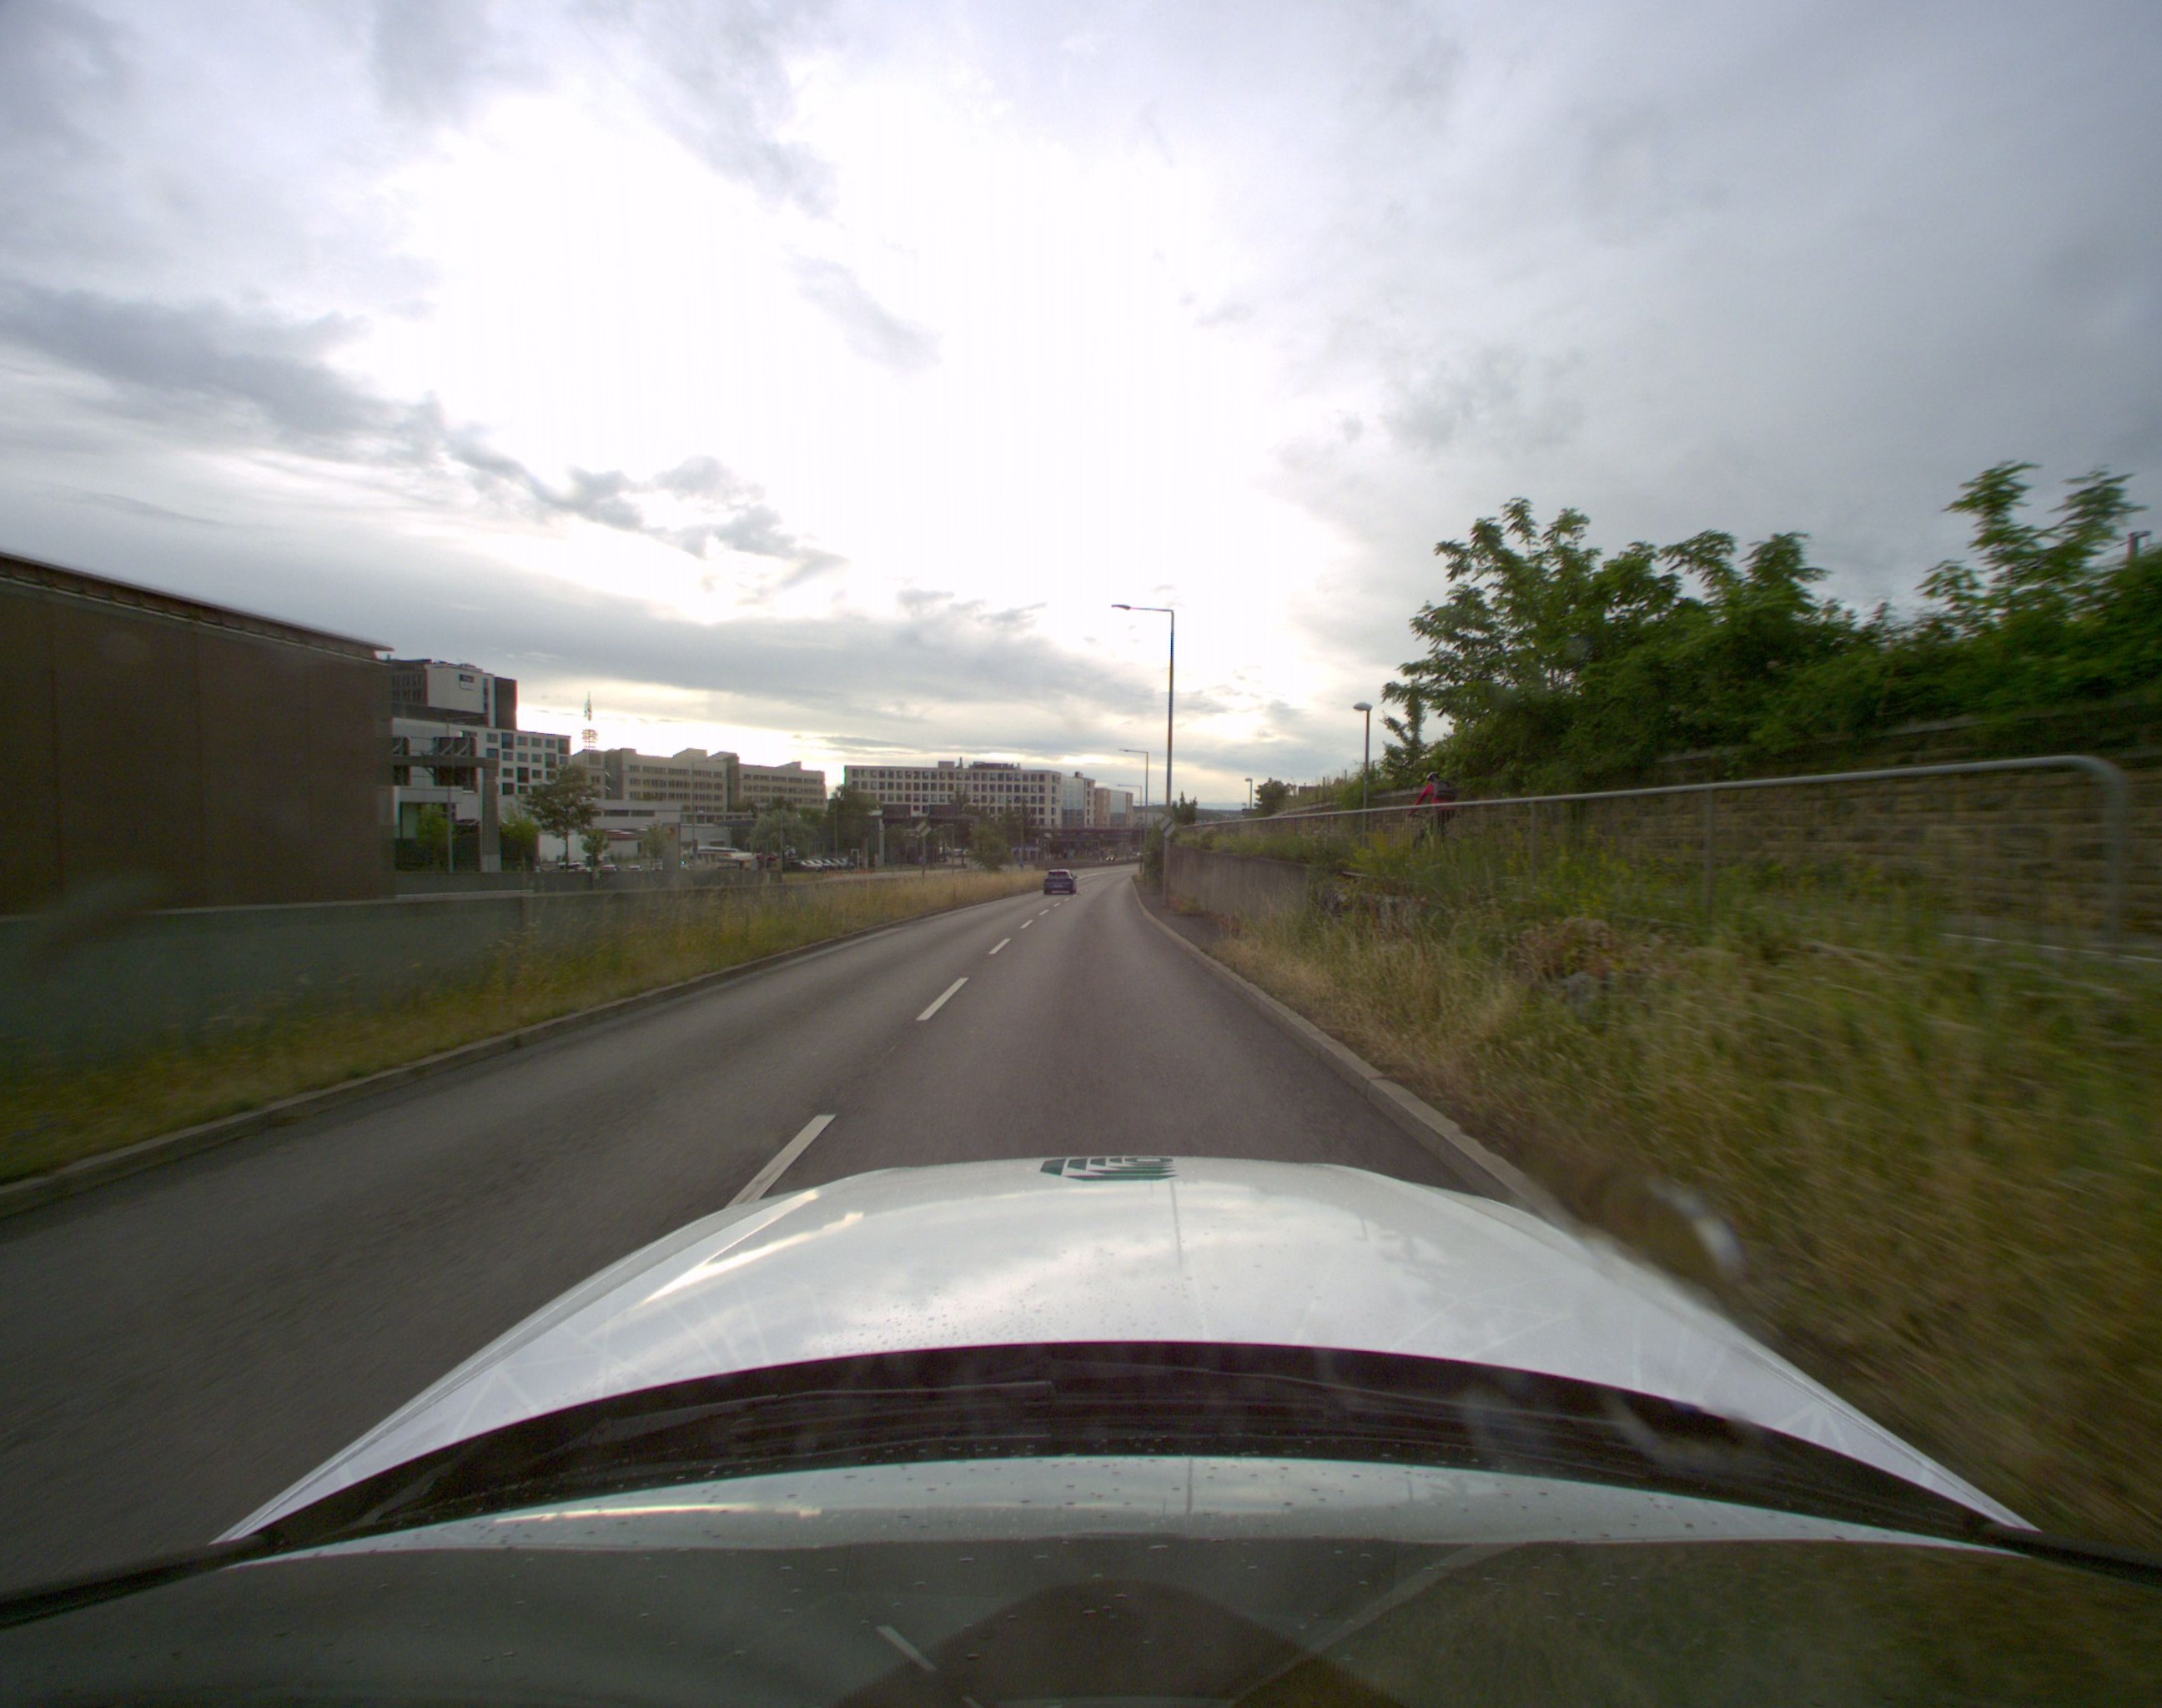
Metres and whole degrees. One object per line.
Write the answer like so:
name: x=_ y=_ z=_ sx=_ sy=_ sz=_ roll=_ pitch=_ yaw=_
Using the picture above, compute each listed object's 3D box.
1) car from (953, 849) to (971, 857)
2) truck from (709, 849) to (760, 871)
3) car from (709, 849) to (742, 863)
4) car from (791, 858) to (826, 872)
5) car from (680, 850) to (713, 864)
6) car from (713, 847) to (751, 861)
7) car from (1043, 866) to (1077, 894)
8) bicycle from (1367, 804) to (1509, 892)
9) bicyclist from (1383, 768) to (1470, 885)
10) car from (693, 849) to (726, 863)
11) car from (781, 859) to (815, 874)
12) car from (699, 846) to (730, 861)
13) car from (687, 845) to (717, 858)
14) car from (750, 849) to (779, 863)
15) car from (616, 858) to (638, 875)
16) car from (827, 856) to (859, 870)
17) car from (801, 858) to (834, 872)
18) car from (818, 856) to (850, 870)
car: x=-29.206 y=-0.259 z=200.109 sx=3.957 sy=1.875 sz=2.009 roll=4 pitch=3 yaw=16
truck: x=-46.960 y=0.780 z=110.491 sx=2.350 sy=2.527 sz=7.440 roll=3 pitch=3 yaw=13
car: x=-49.518 y=0.302 z=113.504 sx=1.903 sy=1.683 sz=4.018 roll=4 pitch=3 yaw=16
car: x=-37.349 y=1.500 z=111.691 sx=3.961 sy=1.683 sz=1.930 roll=3 pitch=3 yaw=11
car: x=-54.295 y=0.386 z=115.042 sx=1.903 sy=1.683 sz=4.018 roll=4 pitch=3 yaw=16
car: x=-51.990 y=-0.047 z=121.284 sx=1.978 sy=1.881 sz=5.561 roll=4 pitch=2 yaw=17
car: x=-1.236 y=1.514 z=48.859 sx=1.742 sy=1.420 sz=3.481 roll=-1 pitch=1 yaw=3
bicycle: x=5.960 y=-0.164 z=13.947 sx=0.866 sy=1.288 sz=3.487 roll=3 pitch=2 yaw=0
bicyclist: x=5.983 y=-0.478 z=14.171 sx=0.866 sy=1.908 sz=1.294 roll=3 pitch=2 yaw=0
car: x=-52.200 y=0.235 z=114.506 sx=1.903 sy=1.683 sz=4.018 roll=4 pitch=3 yaw=16
car: x=-37.896 y=1.665 z=109.051 sx=3.975 sy=1.600 sz=1.705 roll=3 pitch=3 yaw=11
car: x=-54.528 y=-0.084 z=121.080 sx=1.978 sy=1.881 sz=4.019 roll=4 pitch=3 yaw=17
car: x=-56.868 y=-0.336 z=122.353 sx=1.903 sy=1.683 sz=4.018 roll=4 pitch=3 yaw=16
car: x=-46.599 y=0.266 z=120.101 sx=1.887 sy=1.881 sz=4.019 roll=4 pitch=3 yaw=17
car: x=-60.217 y=1.662 z=108.057 sx=2.009 sy=1.881 sz=3.957 roll=0 pitch=4 yaw=-38
car: x=-35.349 y=1.313 z=121.061 sx=3.961 sy=1.683 sz=1.930 roll=3 pitch=3 yaw=11
car: x=-36.861 y=1.501 z=114.007 sx=3.961 sy=1.683 sz=1.930 roll=3 pitch=3 yaw=11
car: x=-36.004 y=1.267 z=118.685 sx=3.961 sy=1.683 sz=1.930 roll=3 pitch=3 yaw=11
